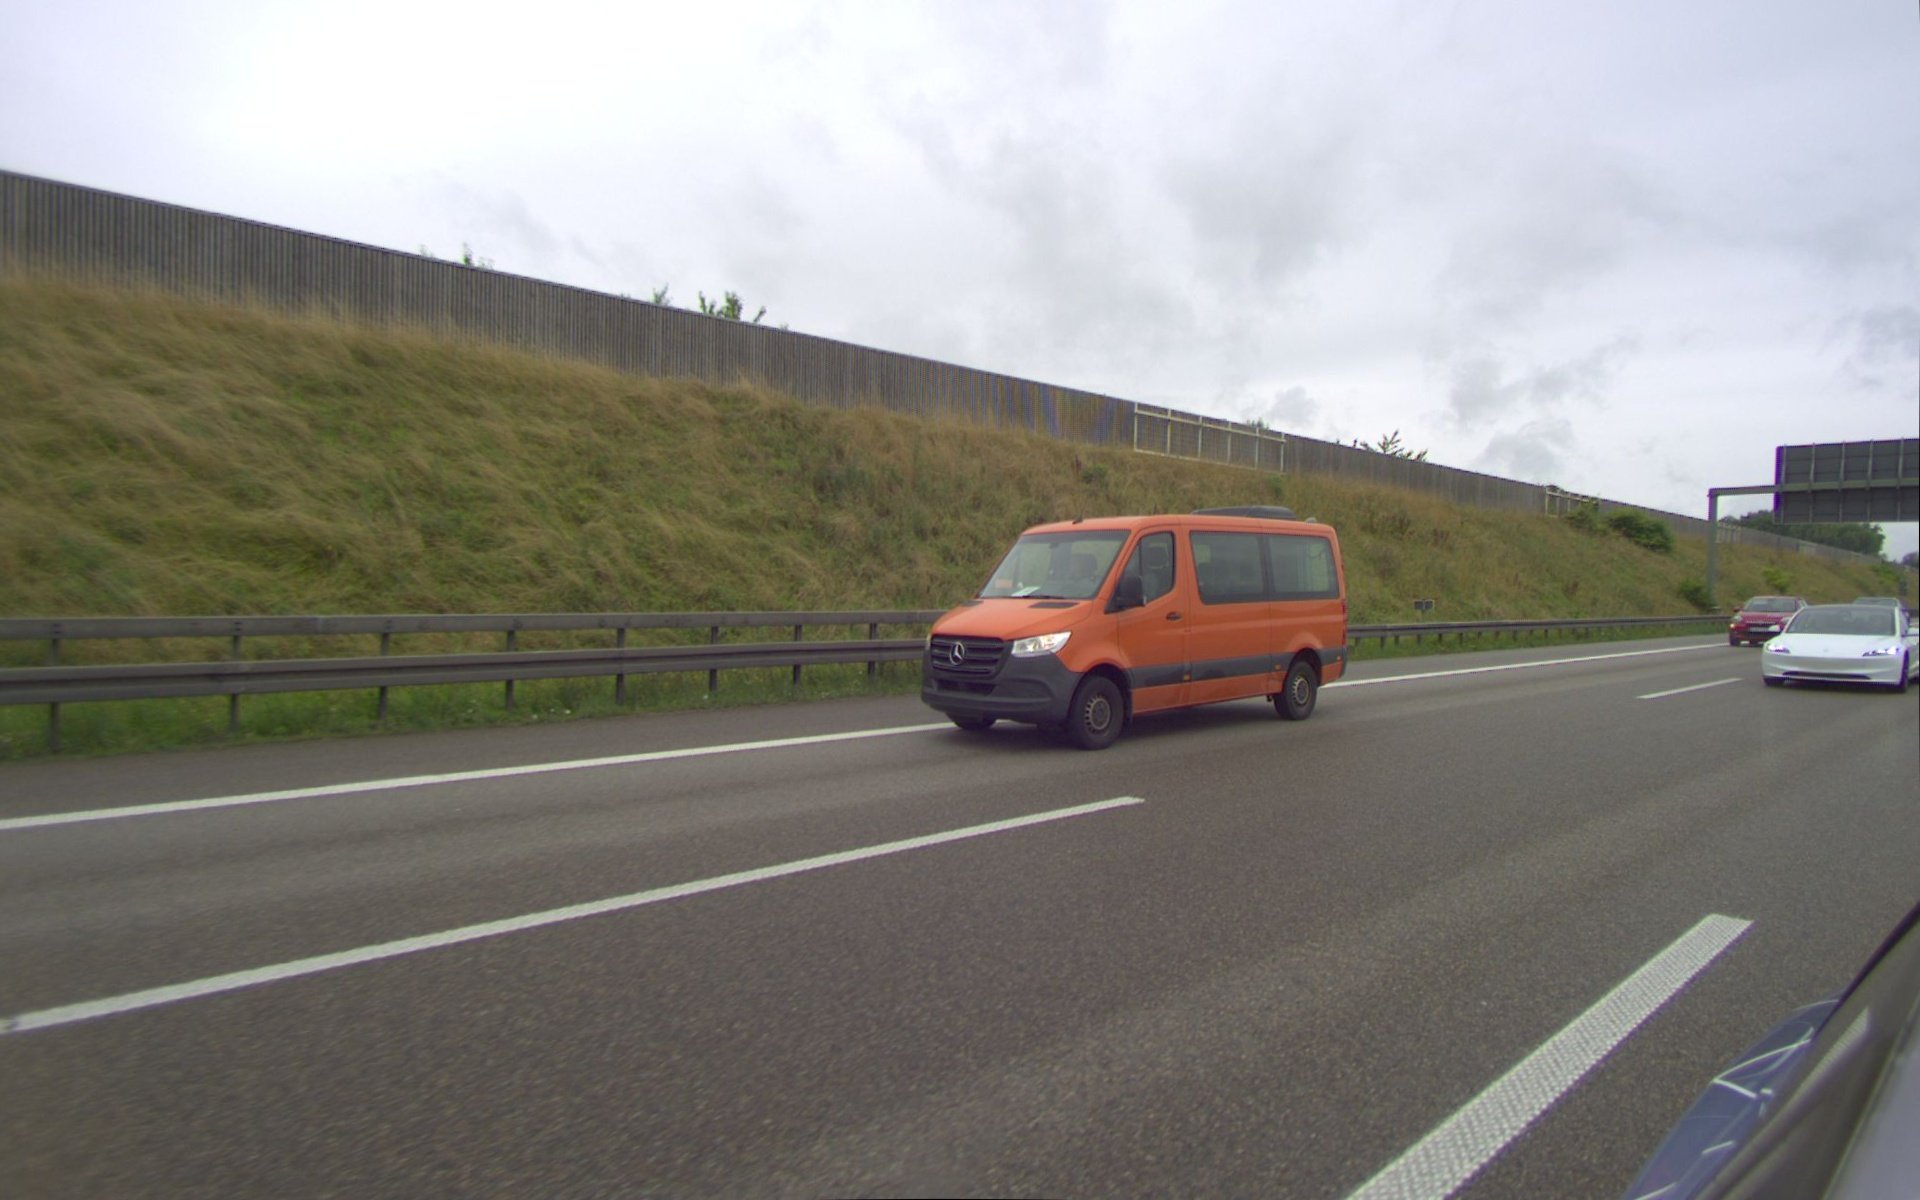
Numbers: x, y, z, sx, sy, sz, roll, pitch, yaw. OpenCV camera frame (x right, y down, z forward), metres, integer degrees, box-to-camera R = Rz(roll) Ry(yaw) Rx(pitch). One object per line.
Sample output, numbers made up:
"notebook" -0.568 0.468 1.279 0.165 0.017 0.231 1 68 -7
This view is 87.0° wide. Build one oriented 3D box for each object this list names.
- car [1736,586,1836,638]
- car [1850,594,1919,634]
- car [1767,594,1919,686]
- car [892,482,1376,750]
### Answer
"car" 26.254 0.334 32.123 3.931 1.554 1.876 -1 0 -42
"car" 38.372 0.539 41.798 4.409 1.507 1.927 -1 0 -42
"car" 16.012 0.604 17.941 4.729 1.380 1.876 -1 1 -41
"car" 2.281 0.117 11.624 6.072 2.344 2.090 0 1 -41
